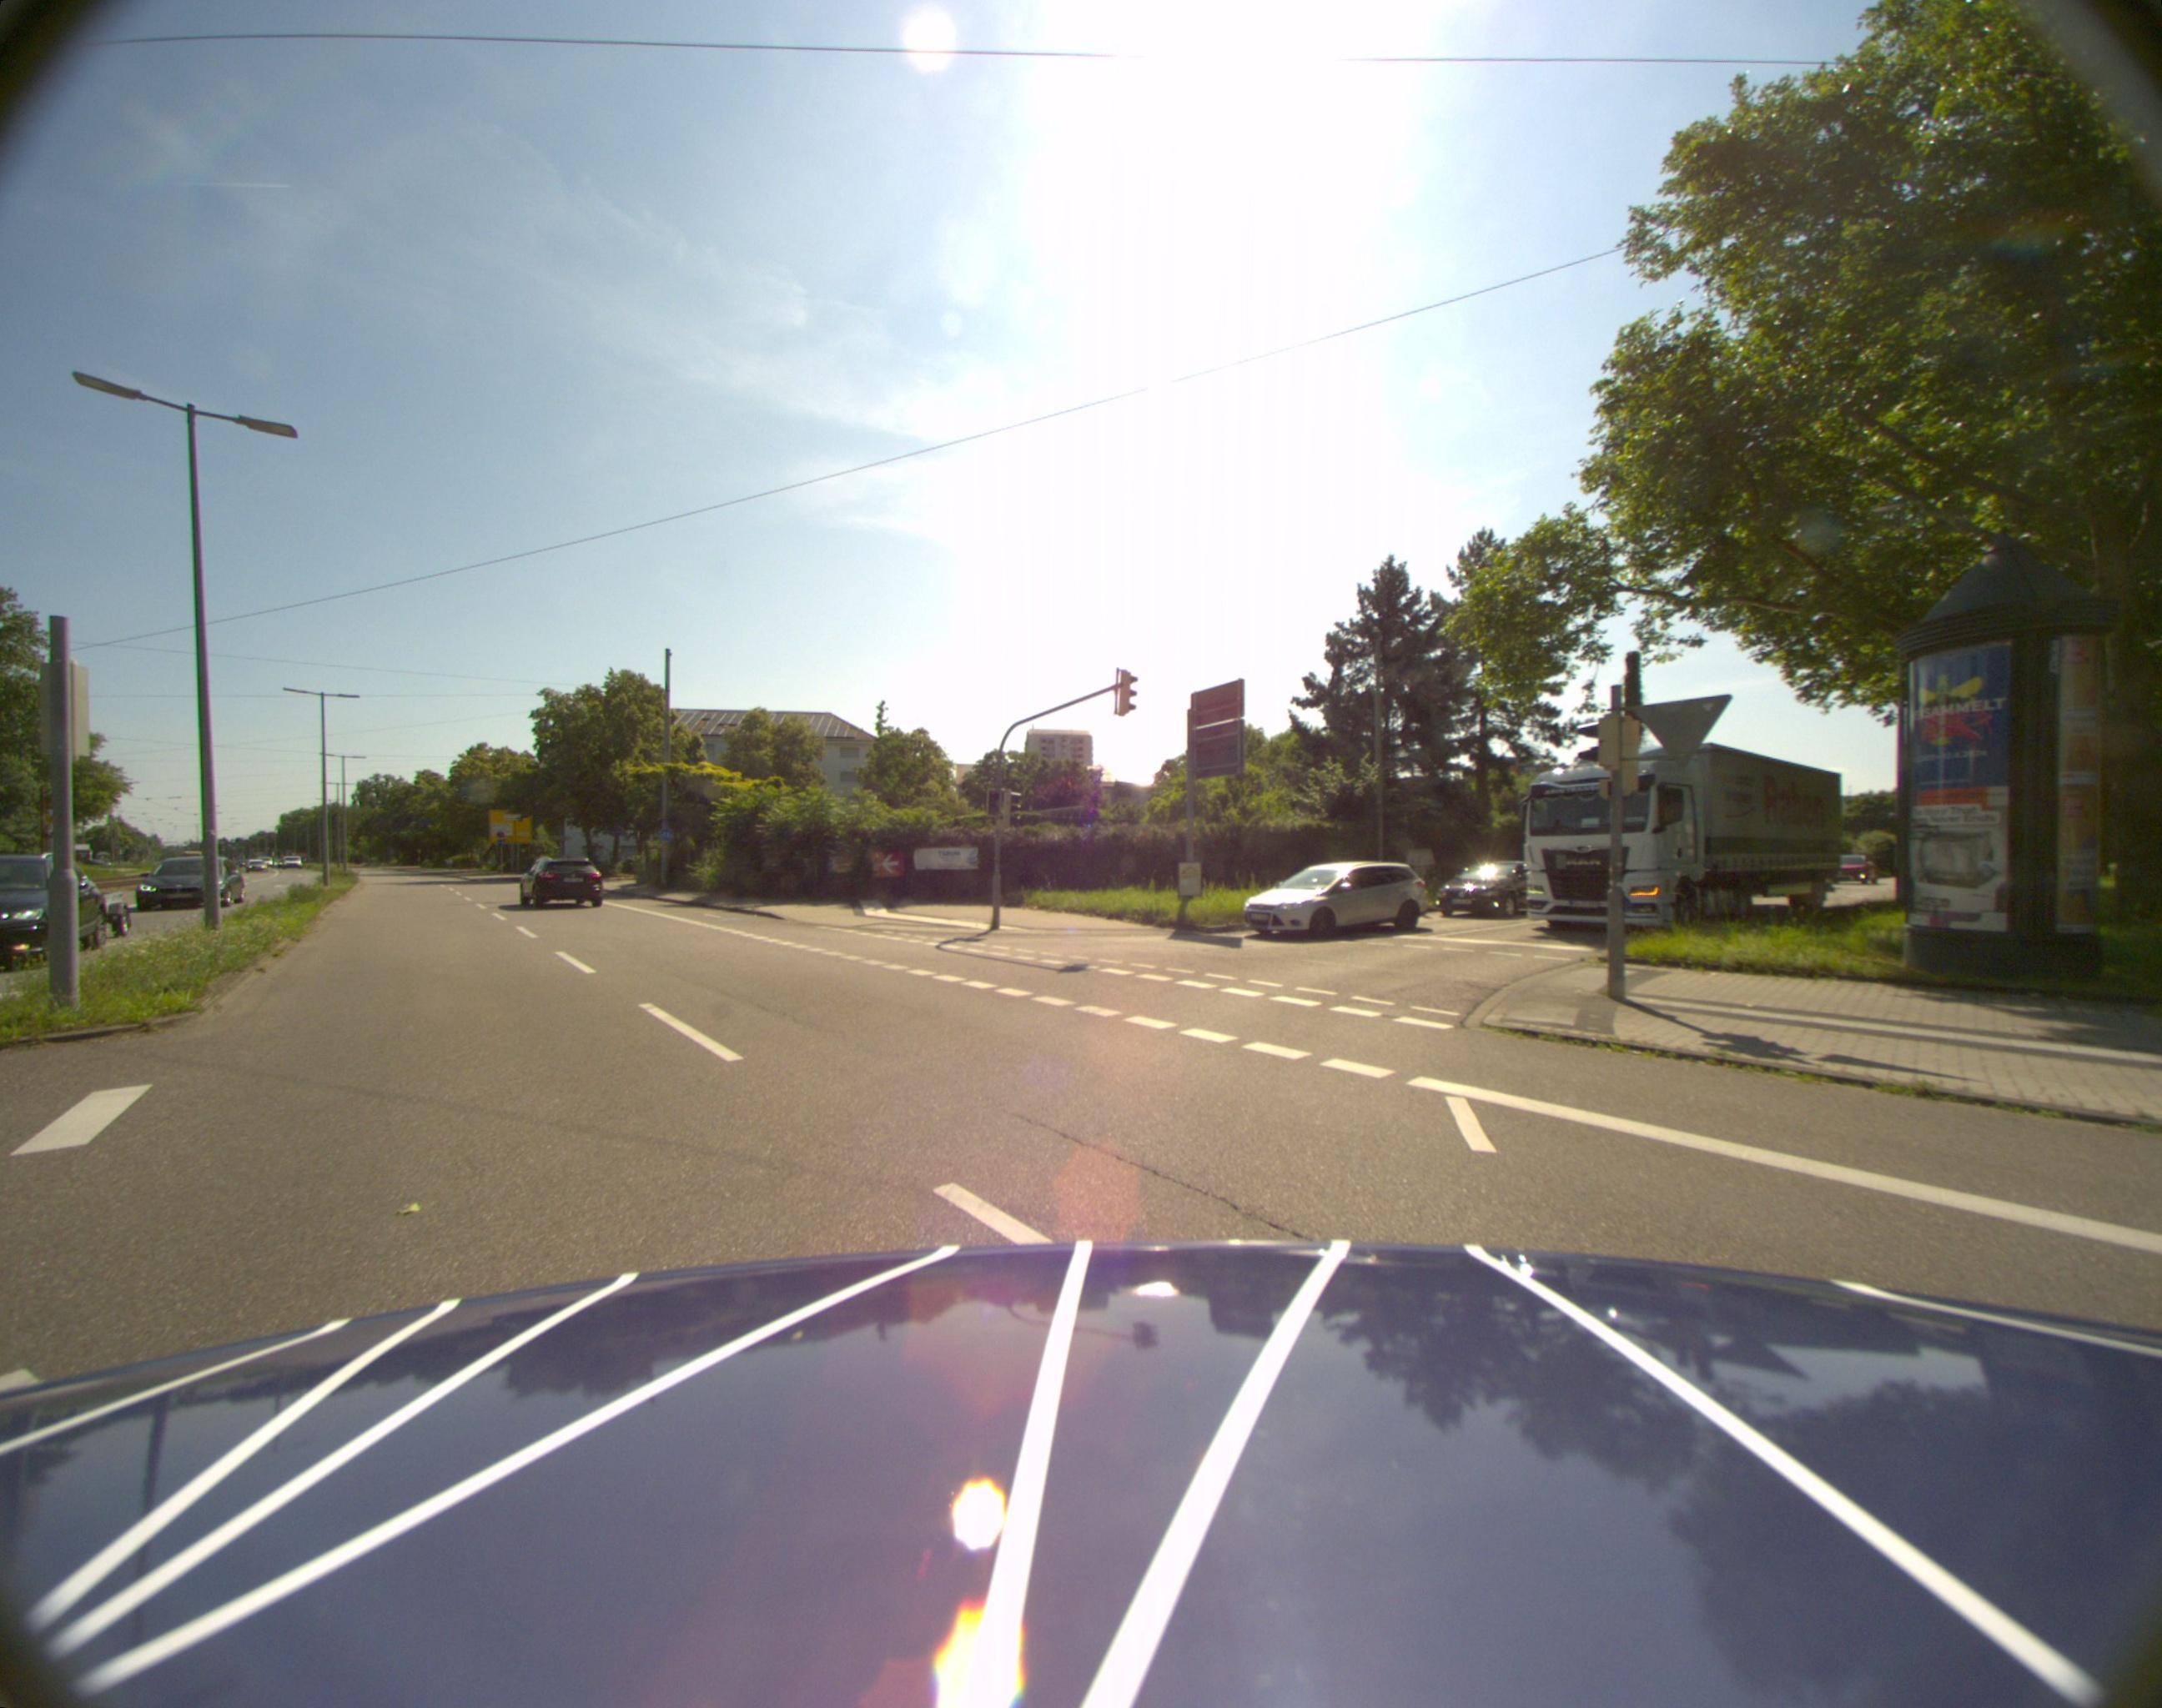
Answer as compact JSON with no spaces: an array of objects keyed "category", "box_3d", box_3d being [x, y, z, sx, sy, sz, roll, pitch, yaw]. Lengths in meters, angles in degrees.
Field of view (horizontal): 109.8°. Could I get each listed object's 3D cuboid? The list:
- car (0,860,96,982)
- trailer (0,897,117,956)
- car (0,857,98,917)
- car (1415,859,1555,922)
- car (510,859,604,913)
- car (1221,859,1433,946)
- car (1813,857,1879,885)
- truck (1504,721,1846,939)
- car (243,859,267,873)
[{"category":"car","box_3d":[-16.220,0.899,11.129,4.492,1.573,1.760,0,0,43]},{"category":"trailer","box_3d":[-19.009,1.283,13.697,3.061,0.813,1.760,0,0,43]},{"category":"car","box_3d":[-29.997,0.887,21.808,4.492,1.573,1.760,0,0,43]},{"category":"car","box_3d":[10.610,0.891,19.910,3.745,1.425,1.630,-1,0,-34]},{"category":"car","box_3d":[-17.202,0.980,24.854,1.760,1.573,4.492,1,-1,-45]},{"category":"car","box_3d":[5.231,0.925,15.996,4.405,1.501,1.752,-1,0,-31]},{"category":"car","box_3d":[42.373,0.914,42.064,4.379,1.361,1.752,-1,0,-34]},{"category":"truck","box_3d":[15.698,-0.445,19.228,14.331,3.984,2.847,0,0,-36]},{"category":"car","box_3d":[-102.947,1.479,94.726,4.455,1.593,1.936,0,1,42]}]
